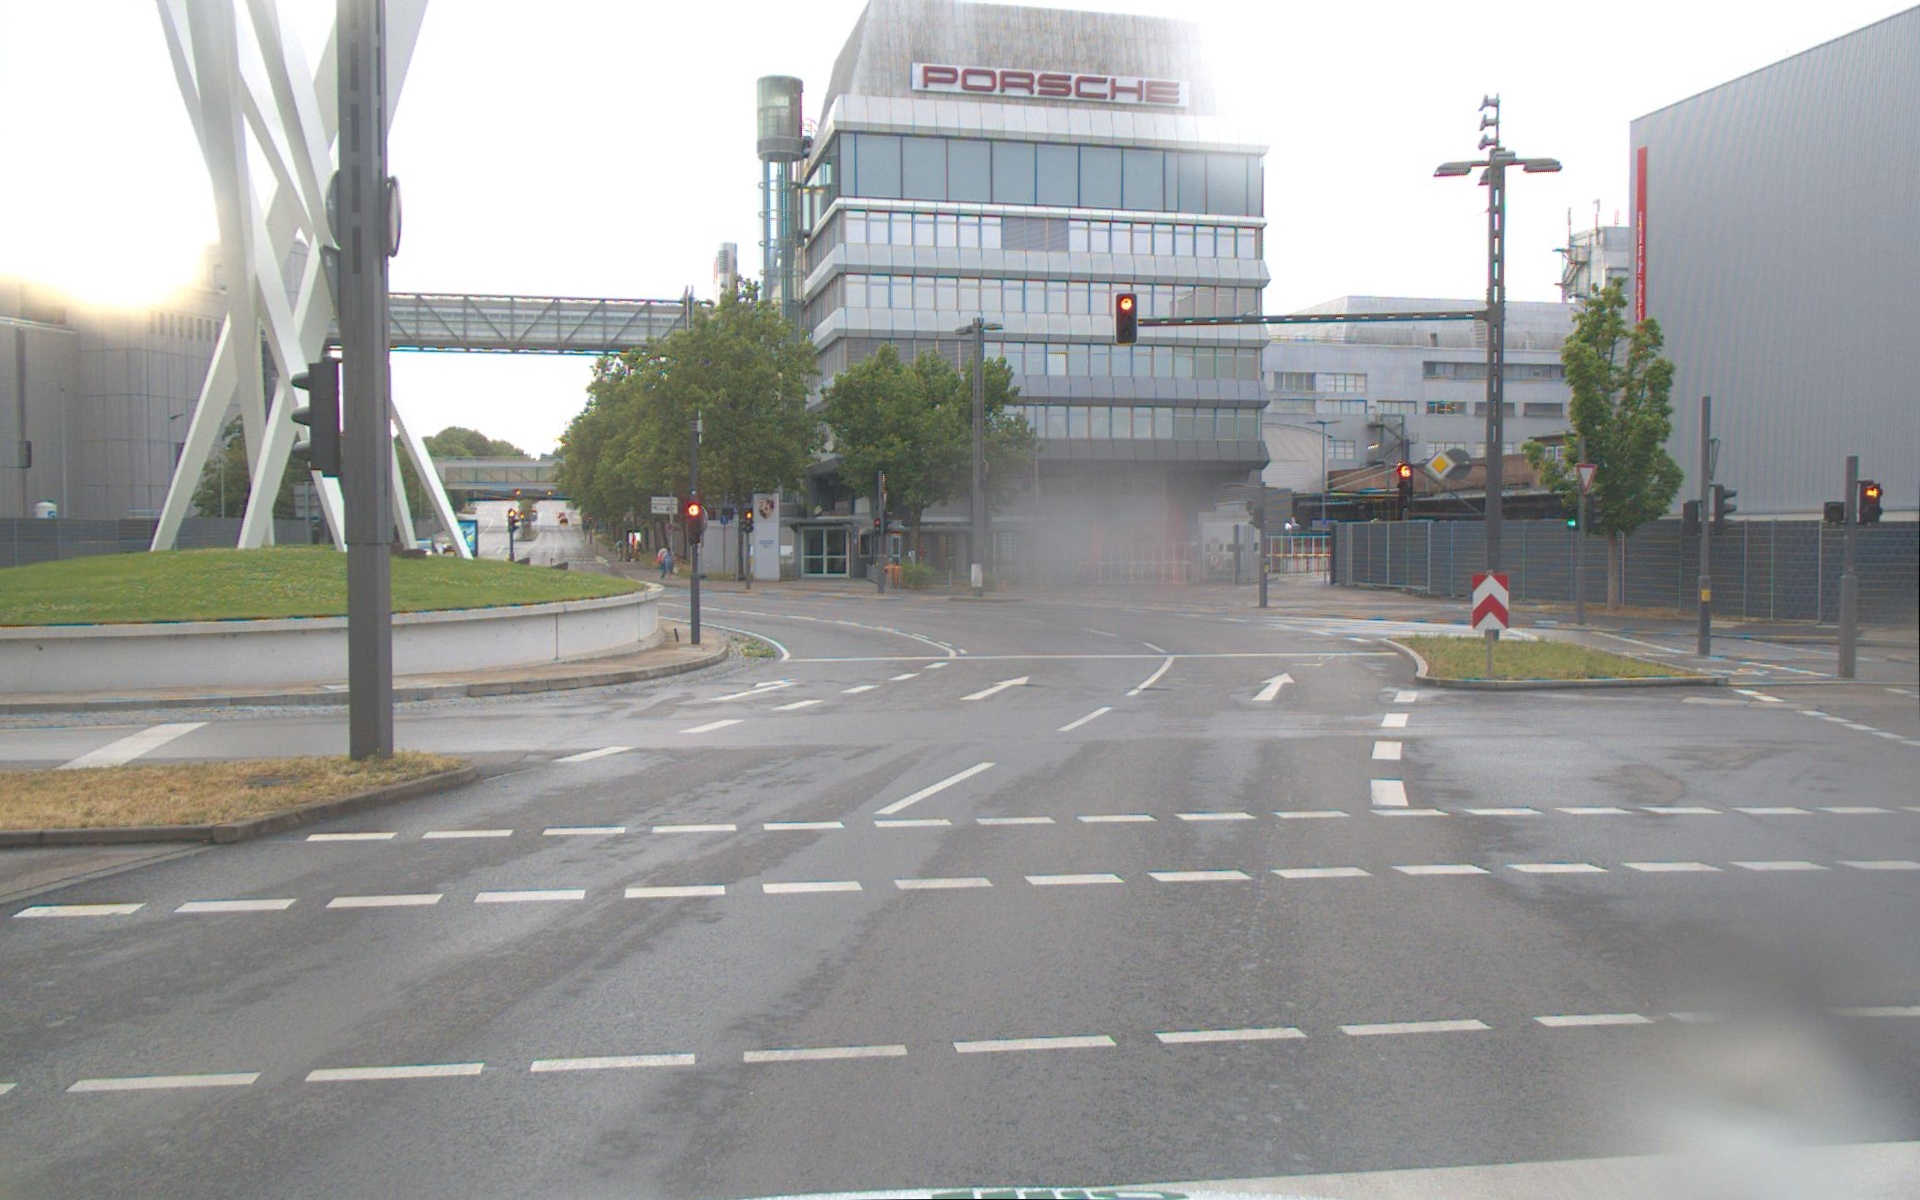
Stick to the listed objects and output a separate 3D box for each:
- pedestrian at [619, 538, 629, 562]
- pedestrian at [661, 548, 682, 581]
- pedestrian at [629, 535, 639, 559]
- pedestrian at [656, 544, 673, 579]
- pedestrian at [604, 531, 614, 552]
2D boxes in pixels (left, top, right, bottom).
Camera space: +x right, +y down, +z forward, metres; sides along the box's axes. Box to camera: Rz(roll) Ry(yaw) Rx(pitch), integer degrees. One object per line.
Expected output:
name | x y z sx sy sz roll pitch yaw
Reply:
pedestrian | -25.530 -3.800 125.731 0.699 1.770 0.757 1 -1 -14
pedestrian | -13.580 -1.684 77.911 0.819 1.547 0.837 -1 2 -21
pedestrian | -25.608 -4.157 129.848 0.744 1.770 0.712 1 -1 -10
pedestrian | -14.186 -1.856 79.322 0.697 1.619 0.837 -1 2 -16
pedestrian | -35.115 -5.870 165.453 0.749 2.049 0.693 0 1 3
